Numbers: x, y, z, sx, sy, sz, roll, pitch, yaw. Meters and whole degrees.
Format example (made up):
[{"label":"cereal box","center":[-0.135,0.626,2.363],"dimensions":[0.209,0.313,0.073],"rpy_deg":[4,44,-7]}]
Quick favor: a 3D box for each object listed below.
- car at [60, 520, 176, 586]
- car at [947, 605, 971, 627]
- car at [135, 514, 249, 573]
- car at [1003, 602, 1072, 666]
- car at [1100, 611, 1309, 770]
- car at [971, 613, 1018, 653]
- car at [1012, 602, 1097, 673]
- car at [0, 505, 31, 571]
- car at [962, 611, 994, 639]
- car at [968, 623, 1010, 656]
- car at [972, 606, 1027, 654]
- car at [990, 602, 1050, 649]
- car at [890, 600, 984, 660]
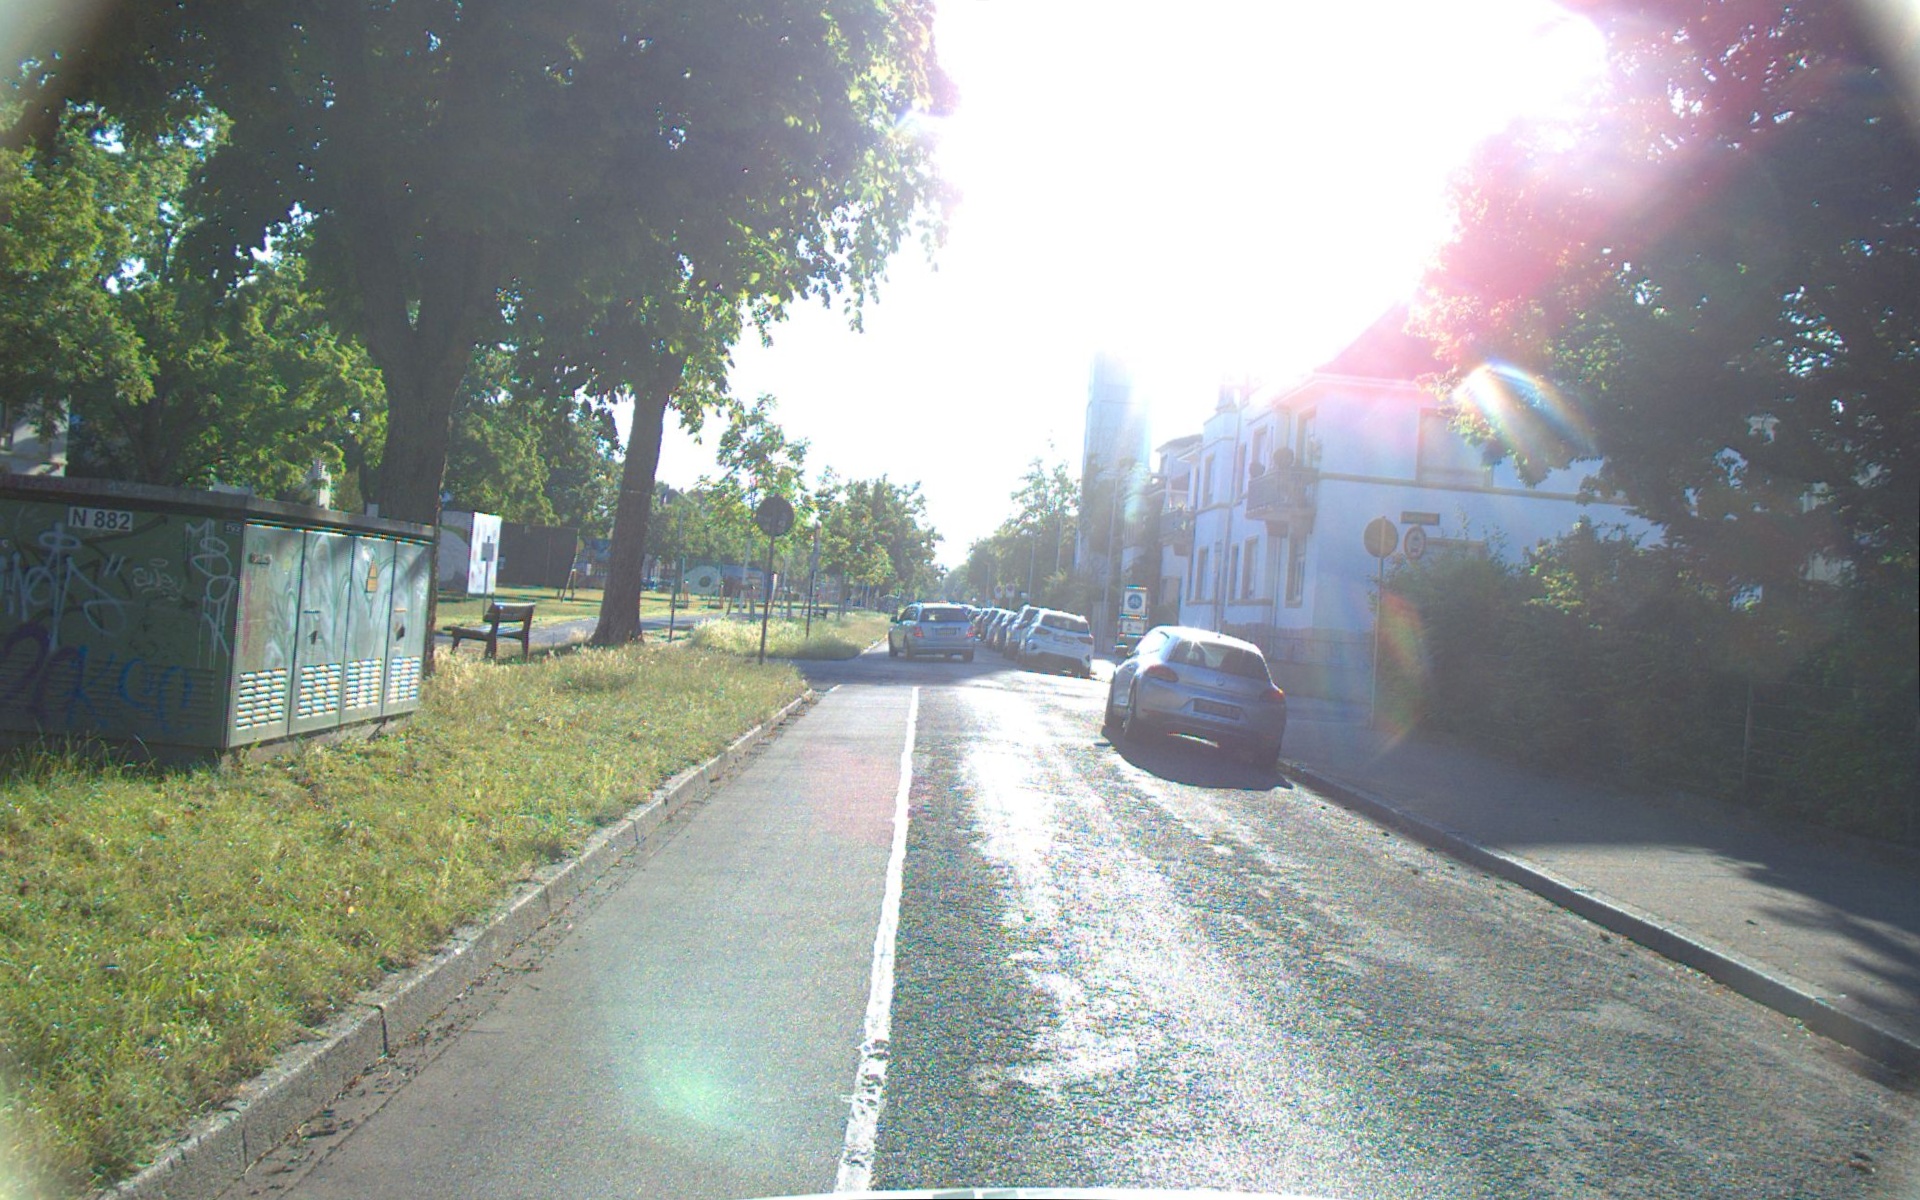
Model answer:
[{"label":"car","center":[-34.220,-1.873,67.393],"dimensions":[1.954,2.289,5.185],"rpy_deg":[5,-1,-1]},{"label":"car","center":[-0.097,1.391,145.400],"dimensions":[1.940,1.712,3.999],"rpy_deg":[5,-1,0]},{"label":"car","center":[-34.521,-2.516,74.565],"dimensions":[2.483,2.275,5.458],"rpy_deg":[4,0,-1]},{"label":"car","center":[2.280,0.979,49.484],"dimensions":[1.651,1.679,4.098],"rpy_deg":[4,0,-1]},{"label":"car","center":[2.886,1.027,20.376],"dimensions":[1.724,1.442,4.071],"rpy_deg":[11,-1,0]},{"label":"car","center":[1.521,1.456,74.103],"dimensions":[1.726,1.547,3.998],"rpy_deg":[7,-1,-2]},{"label":"car","center":[2.442,0.956,43.662],"dimensions":[1.724,1.632,4.356],"rpy_deg":[5,-1,-2]},{"label":"car","center":[-33.917,-2.251,56.570],"dimensions":[1.651,2.213,4.313],"rpy_deg":[5,-1,0]},{"label":"car","center":[1.178,1.694,110.796],"dimensions":[1.953,1.657,3.999],"rpy_deg":[5,-1,0]},{"label":"car","center":[1.458,2.014,84.676],"dimensions":[1.953,1.489,3.999],"rpy_deg":[5,-1,0]},{"label":"car","center":[1.491,1.128,63.878],"dimensions":[1.724,1.632,4.356],"rpy_deg":[5,-1,-2]},{"label":"car","center":[2.100,0.878,58.529],"dimensions":[1.726,1.444,3.998],"rpy_deg":[4,0,-2]},{"label":"car","center":[-0.644,0.749,42.851],"dimensions":[1.729,1.445,3.989],"rpy_deg":[2,-1,-11]}]
